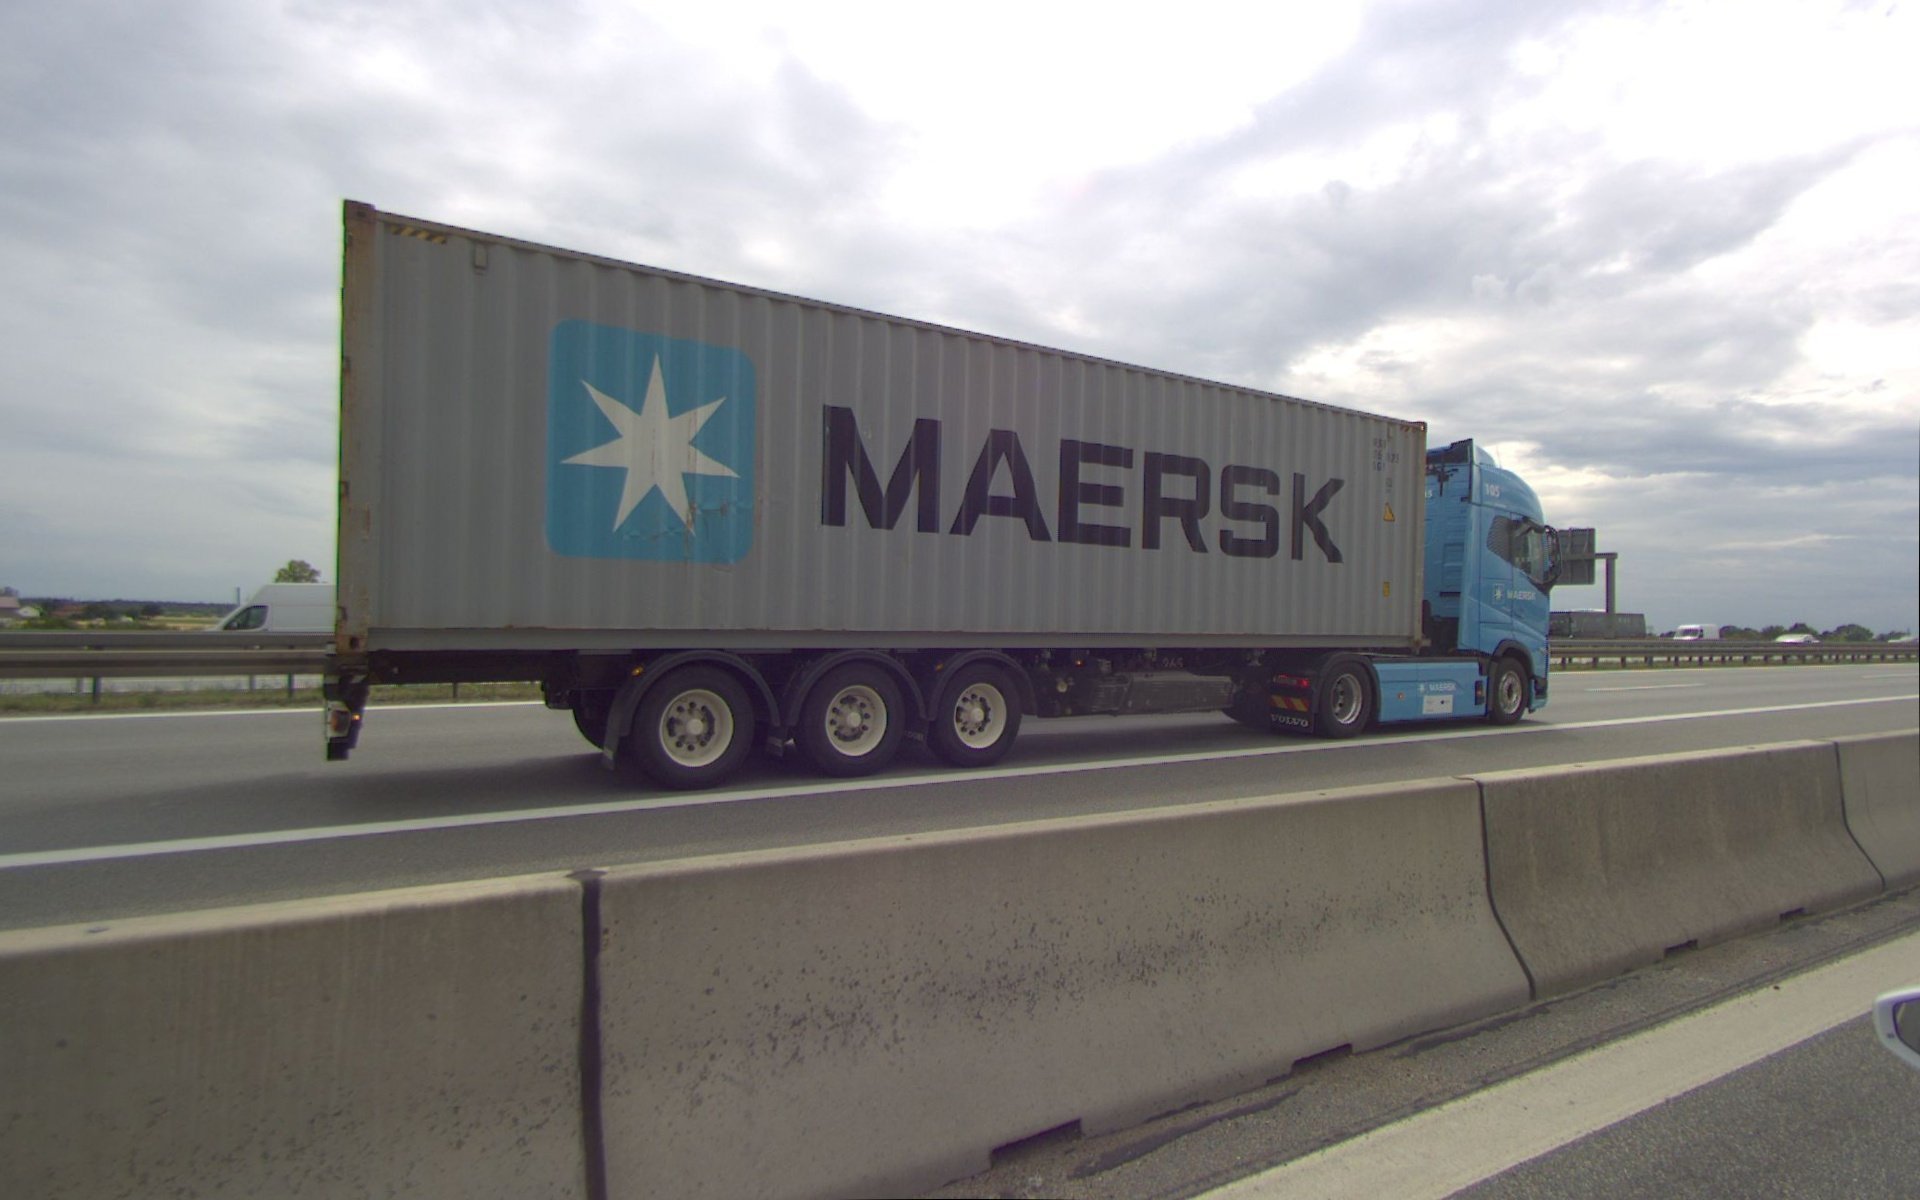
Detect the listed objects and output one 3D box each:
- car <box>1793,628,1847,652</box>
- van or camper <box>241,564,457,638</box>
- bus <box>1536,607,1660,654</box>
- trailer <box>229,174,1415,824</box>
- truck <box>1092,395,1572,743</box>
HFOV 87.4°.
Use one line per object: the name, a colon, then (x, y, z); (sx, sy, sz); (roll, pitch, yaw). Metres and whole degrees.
car: (55.798, 2.593, 65.156); (3.954, 1.483, 1.515); (2, 0, -31)
van or camper: (-19.529, 0.090, 32.313); (5.749, 2.200, 2.173); (2, -1, -34)
bus: (50.901, 2.454, 79.977); (12.851, 3.488, 3.195); (2, 0, -33)
trailer: (-0.175, -0.468, 10.885); (12.249, 3.976, 3.217); (2, 0, -33)
truck: (5.508, -0.290, 14.596); (6.538, 3.964, 3.228); (2, 0, -33)
